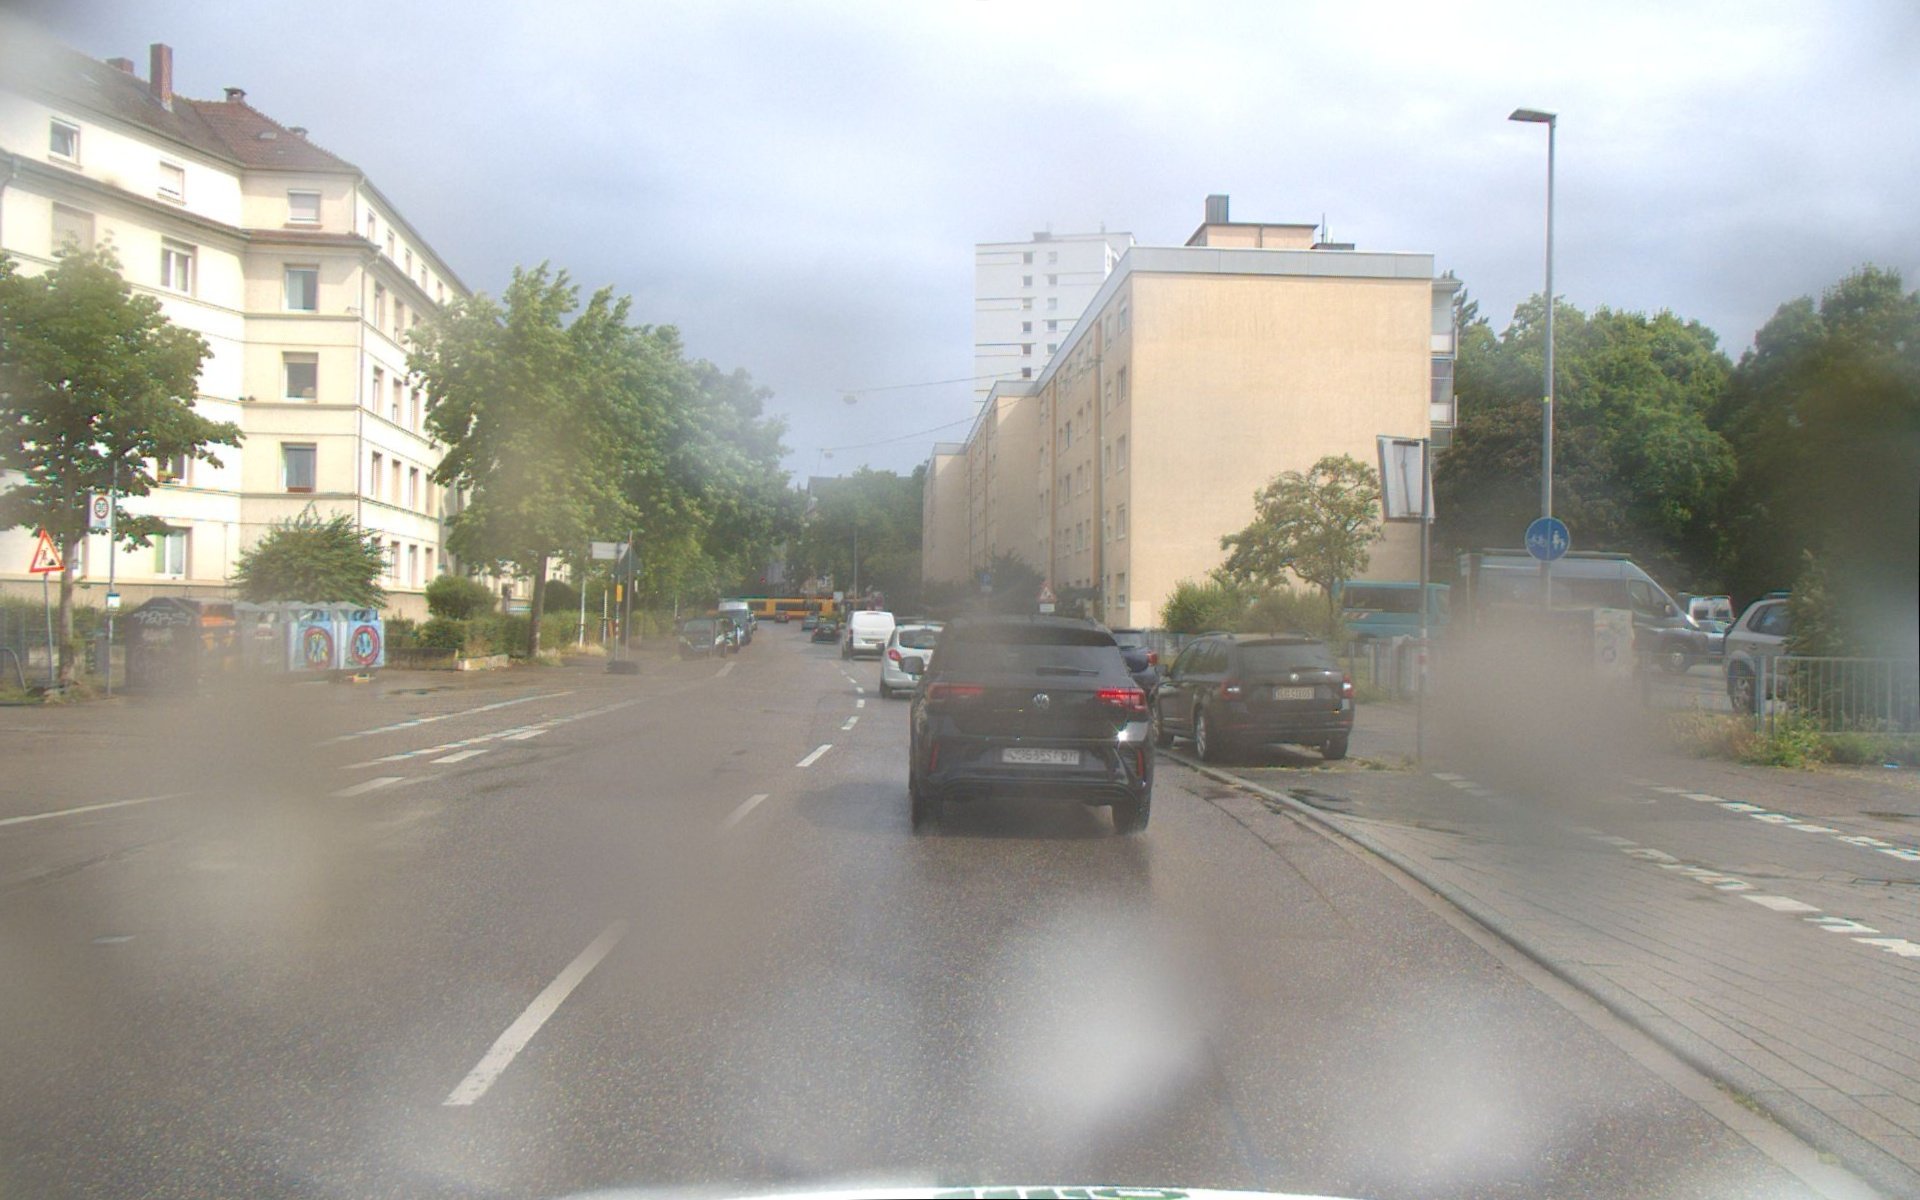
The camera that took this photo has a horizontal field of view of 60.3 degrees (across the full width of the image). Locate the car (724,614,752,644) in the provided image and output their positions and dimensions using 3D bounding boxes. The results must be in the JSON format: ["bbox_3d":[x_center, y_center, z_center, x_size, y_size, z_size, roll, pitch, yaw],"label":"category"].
[{"bbox_3d":[-12.842,1.682,95.664,1.556,1.668,3.914,-1,-1,-7],"label":"car"}]

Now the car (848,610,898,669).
[{"bbox_3d":[-3.395,1.531,64.311,1.800,2.140,3.996,2,-2,-4],"label":"car"}]

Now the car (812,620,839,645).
[{"bbox_3d":[-8.548,2.045,104.919,1.574,1.536,3.542,-1,-1,-7],"label":"car"}]

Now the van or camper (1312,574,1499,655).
[{"bbox_3d":[12.456,0.404,46.511,4.661,2.169,2.322,0,0,0],"label":"van or camper"}]

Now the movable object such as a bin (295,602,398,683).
[{"bbox_3d":[-13.079,0.884,35.297,1.505,1.691,1.460,0,0,16],"label":"movable object such as a bin"}]

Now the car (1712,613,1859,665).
[{"bbox_3d":[24.614,1.151,49.383,3.591,1.512,1.639,0,-1,0],"label":"car"}]

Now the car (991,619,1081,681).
[{"bbox_3d":[1.953,1.289,43.447,1.715,1.534,4.105,1,-1,-7],"label":"car"}]

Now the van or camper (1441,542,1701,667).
[{"bbox_3d":[13.281,0.130,36.159,4.897,2.599,2.174,1,-2,-2],"label":"van or camper"}]

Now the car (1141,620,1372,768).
[{"bbox_3d":[3.526,1.065,20.482,1.739,1.566,4.374,-2,0,-4],"label":"car"}]

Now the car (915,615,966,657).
[{"bbox_3d":[-0.783,1.400,64.830,1.662,1.566,4.027,-1,-1,-5],"label":"car"}]

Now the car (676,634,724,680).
[{"bbox_3d":[-9.335,2.033,59.576,1.556,1.532,4.058,-1,-1,-7],"label":"car"}]

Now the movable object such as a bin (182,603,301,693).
[{"bbox_3d":[-13.953,0.909,32.167,1.505,1.685,1.529,0,0,16],"label":"movable object such as a bin"}]

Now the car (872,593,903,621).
[{"bbox_3d":[-4.340,0.423,99.381,1.804,1.636,3.674,-1,-1,-2],"label":"car"}]

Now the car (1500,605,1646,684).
[{"bbox_3d":[11.955,0.843,32.460,1.577,1.474,3.416,0,-1,0],"label":"car"}]

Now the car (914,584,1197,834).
[{"bbox_3d":[0.618,0.813,13.571,1.836,1.674,4.059,2,-2,-3],"label":"car"}]

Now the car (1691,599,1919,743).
[{"bbox_3d":[11.968,0.905,22.725,1.768,1.780,4.235,0,-1,-3],"label":"car"}]

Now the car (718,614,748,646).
[{"bbox_3d":[-12.295,1.621,89.705,1.556,1.668,3.914,-1,-1,-7],"label":"car"}]

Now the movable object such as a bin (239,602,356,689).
[{"bbox_3d":[-13.503,0.908,33.756,1.505,1.703,1.667,0,0,16],"label":"movable object such as a bin"}]

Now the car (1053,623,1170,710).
[{"bbox_3d":[2.864,1.264,32.008,1.721,1.554,3.997,1,-2,-2],"label":"car"}]

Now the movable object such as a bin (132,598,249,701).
[{"bbox_3d":[-14.225,0.886,30.610,1.505,1.856,1.264,0,0,16],"label":"movable object such as a bin"}]

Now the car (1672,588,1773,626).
[{"bbox_3d":[29.072,0.262,63.143,3.159,1.422,1.509,0,-1,0],"label":"car"}]

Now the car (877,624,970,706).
[{"bbox_3d":[-0.812,1.322,34.423,1.777,1.529,3.997,2,-2,-3],"label":"car"}]

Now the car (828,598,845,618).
[{"bbox_3d":[-12.062,0.798,161.759,1.633,1.870,3.996,0,0,-5],"label":"car"}]
